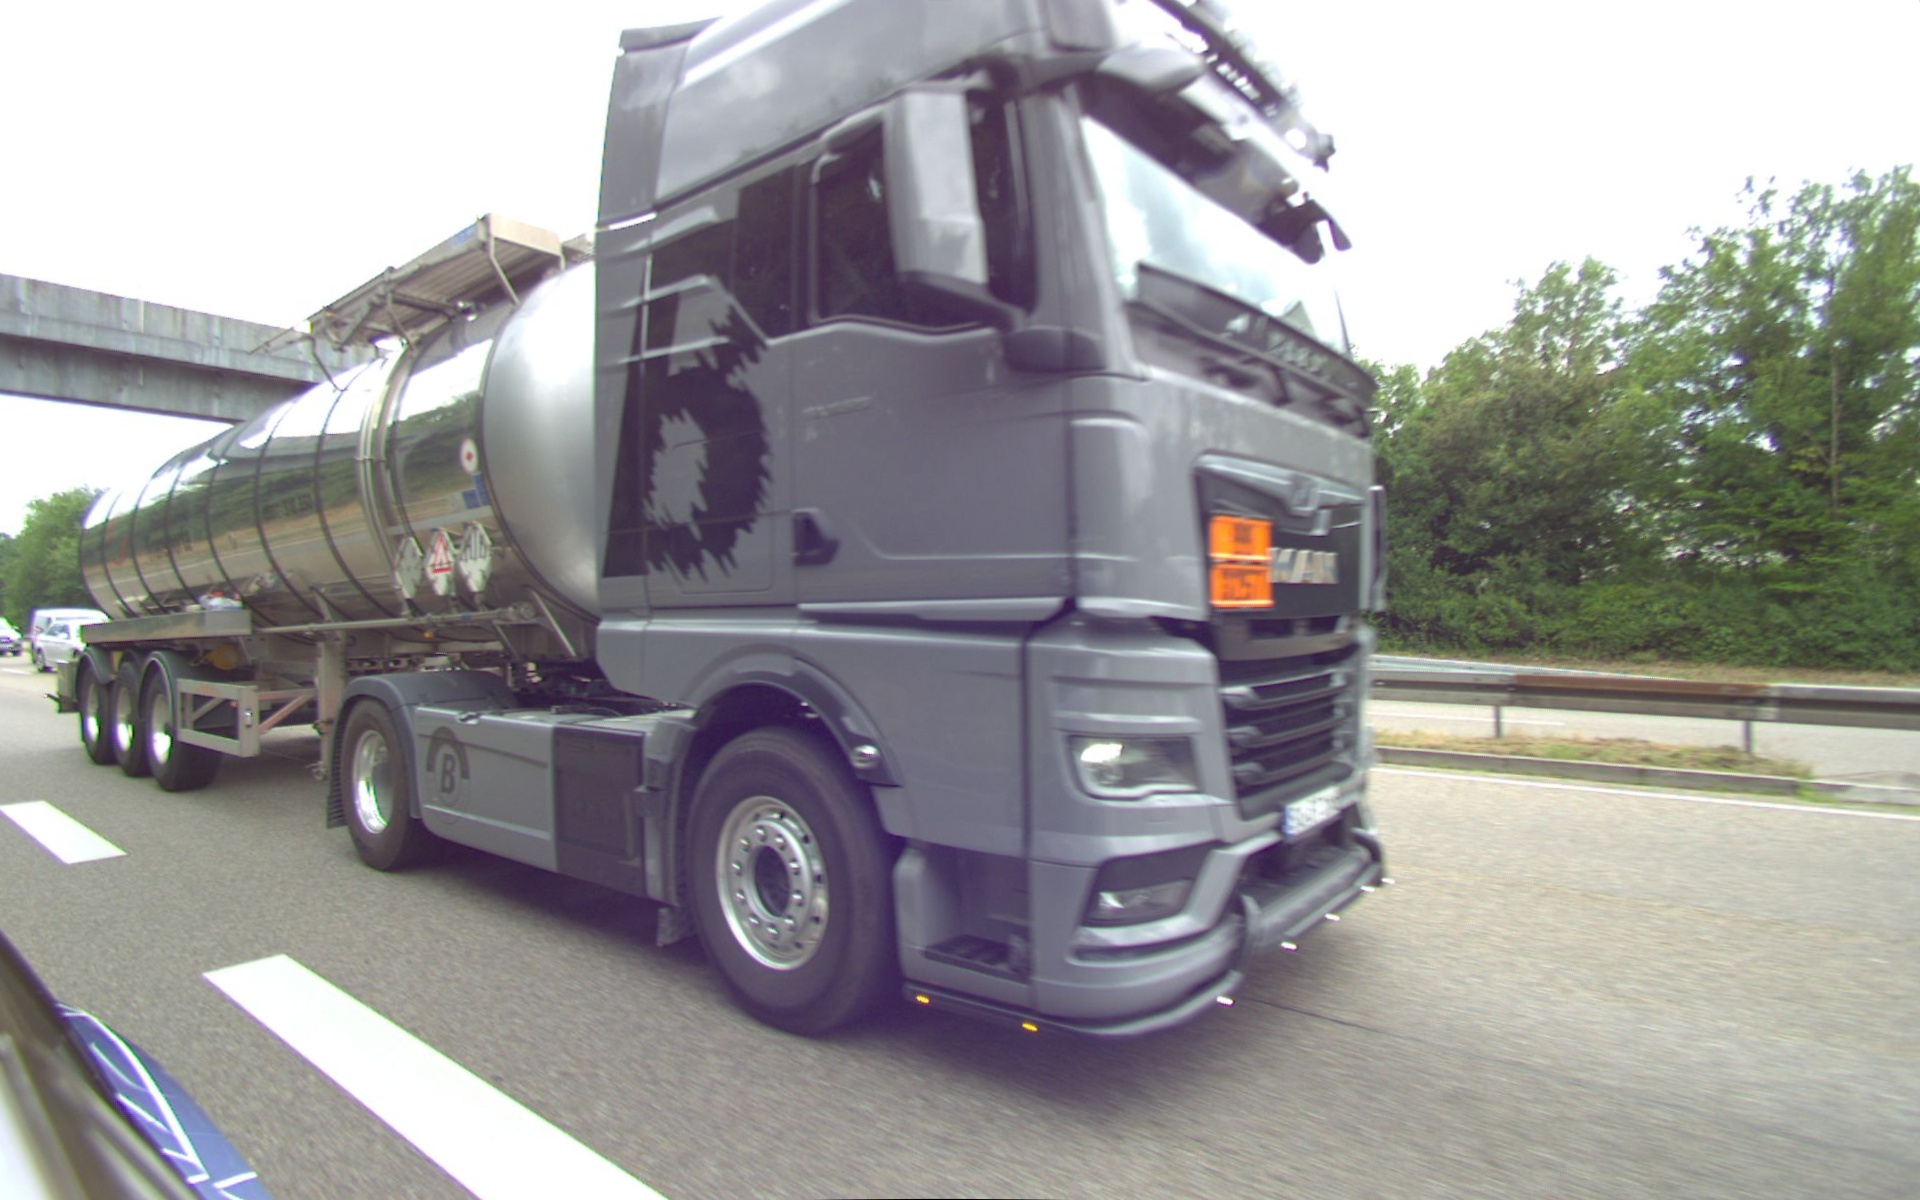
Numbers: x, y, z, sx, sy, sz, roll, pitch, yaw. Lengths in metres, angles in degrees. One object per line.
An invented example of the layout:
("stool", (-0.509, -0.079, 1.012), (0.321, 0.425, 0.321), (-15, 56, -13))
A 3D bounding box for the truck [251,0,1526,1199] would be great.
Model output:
("truck", (-1.104, -0.494, 5.505), (6.927, 3.937, 2.657), (-2, -2, 39))

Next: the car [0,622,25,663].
("car", (-40.554, 1.765, 42.143), (3.996, 1.664, 1.825), (-2, -2, 39))

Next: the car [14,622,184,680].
("car", (-23.889, 1.363, 28.023), (5.239, 1.475, 2.043), (-1, -2, 31))

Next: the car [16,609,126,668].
("car", (-30.002, 1.279, 34.094), (4.999, 1.864, 1.829), (-1, -2, 37))

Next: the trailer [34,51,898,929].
("trailer", (-5.471, -0.384, 9.065), (10.976, 3.937, 2.656), (-2, -2, 40))
